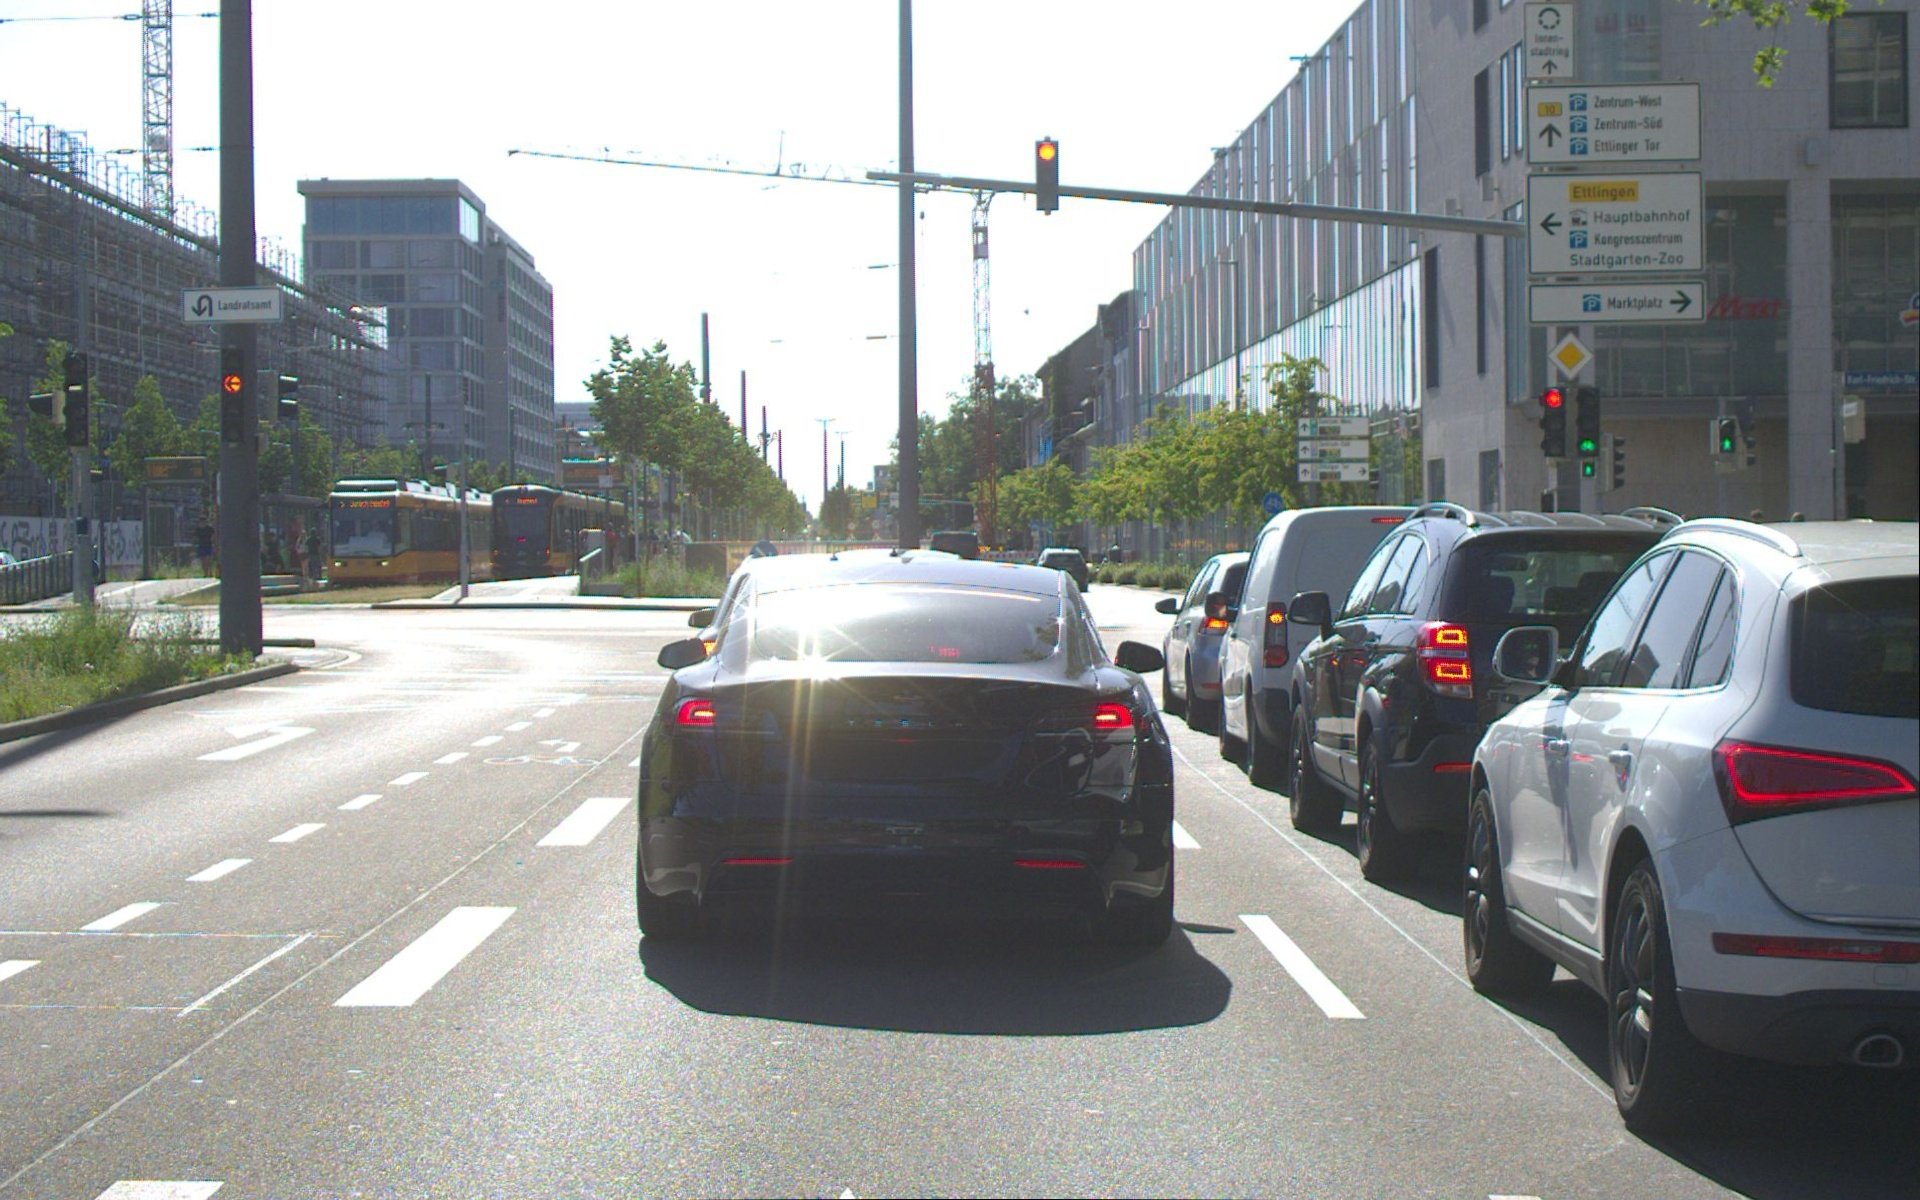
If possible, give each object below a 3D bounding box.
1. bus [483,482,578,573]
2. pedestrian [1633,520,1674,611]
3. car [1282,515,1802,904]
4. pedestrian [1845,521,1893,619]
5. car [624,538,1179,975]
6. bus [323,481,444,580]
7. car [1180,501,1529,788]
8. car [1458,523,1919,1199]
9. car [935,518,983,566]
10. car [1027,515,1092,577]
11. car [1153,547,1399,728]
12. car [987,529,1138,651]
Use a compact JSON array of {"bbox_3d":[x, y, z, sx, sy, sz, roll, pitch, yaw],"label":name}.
[{"bbox_3d":[-15.078,-2.486,121.170,2.627,2.949,9.900,2,0,-4],"label":"bus"},{"bbox_3d":[11.155,-0.551,55.311,0.562,1.435,0.631,2,0,6],"label":"pedestrian"},{"bbox_3d":[2.667,0.420,16.684,1.721,1.647,4.187,0,1,-1],"label":"car"},{"bbox_3d":[13.621,-0.448,51.533,0.562,1.435,0.631,2,0,6],"label":"pedestrian"},{"bbox_3d":[-0.260,0.503,13.861,1.912,1.481,4.010,0,1,-2],"label":"car"},{"bbox_3d":[-17.433,-2.048,104.472,2.627,2.773,8.845,2,0,-4],"label":"bus"},{"bbox_3d":[2.580,0.228,23.393,1.721,1.776,4.187,0,1,-2],"label":"car"},{"bbox_3d":[2.608,0.581,10.122,1.721,1.612,4.186,0,1,1],"label":"car"},{"bbox_3d":[-0.069,-2.511,149.446,1.993,2.007,4.000,2,0,-1],"label":"car"},{"bbox_3d":[3.390,-1.825,117.704,1.993,2.007,4.000,2,0,-1],"label":"car"},{"bbox_3d":[2.667,0.272,29.838,1.721,1.427,4.186,0,1,0],"label":"car"},{"bbox_3d":[1.225,-0.160,42.706,1.721,1.427,4.186,0,1,0],"label":"car"}]
